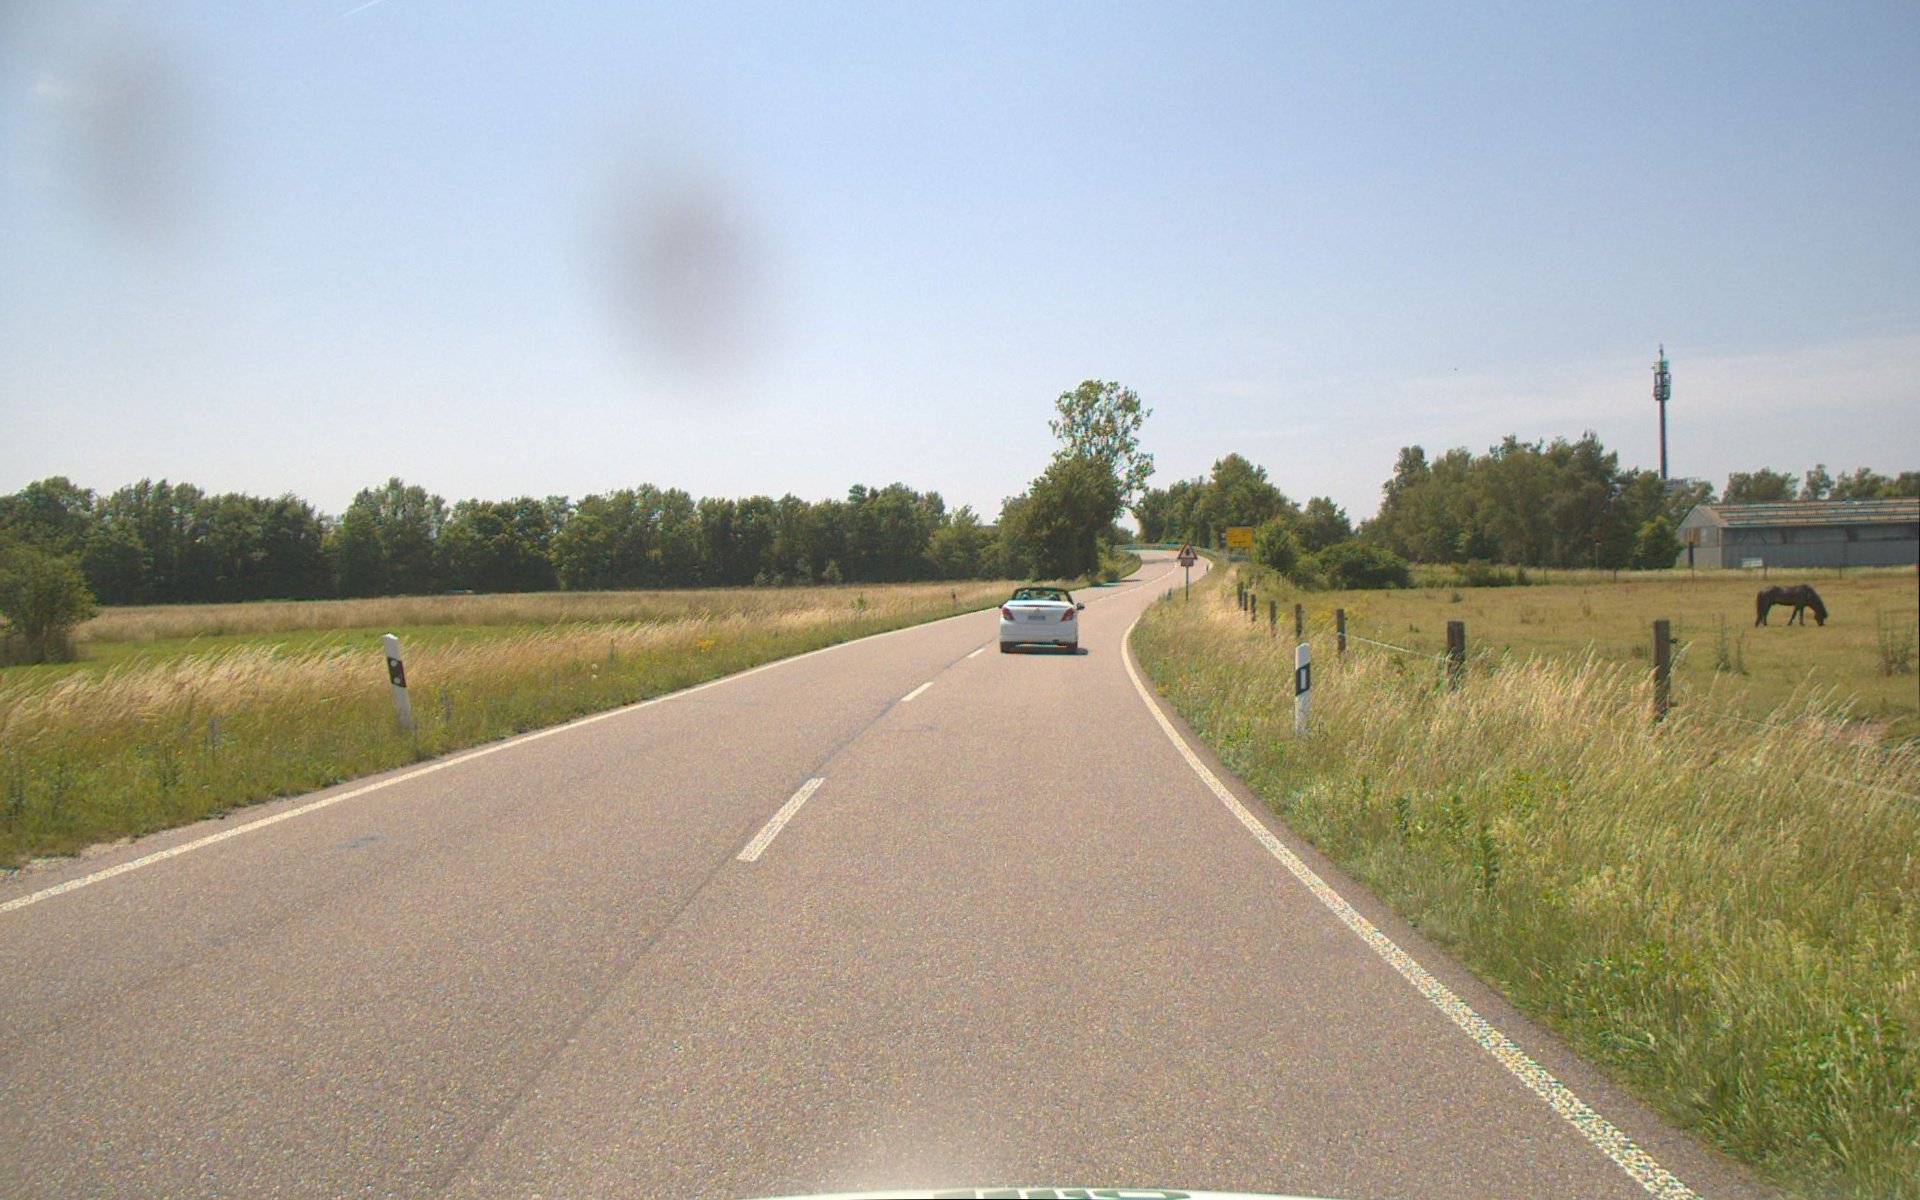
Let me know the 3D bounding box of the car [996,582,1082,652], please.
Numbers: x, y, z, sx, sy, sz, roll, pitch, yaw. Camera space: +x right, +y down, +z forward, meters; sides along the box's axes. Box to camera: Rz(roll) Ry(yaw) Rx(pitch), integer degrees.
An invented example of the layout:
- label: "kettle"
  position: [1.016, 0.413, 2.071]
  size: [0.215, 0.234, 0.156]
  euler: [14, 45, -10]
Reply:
- label: "car"
  position: [1.779, 0.342, 36.815]
  size: [1.812, 1.403, 4.002]
  euler: [0, 1, 3]
